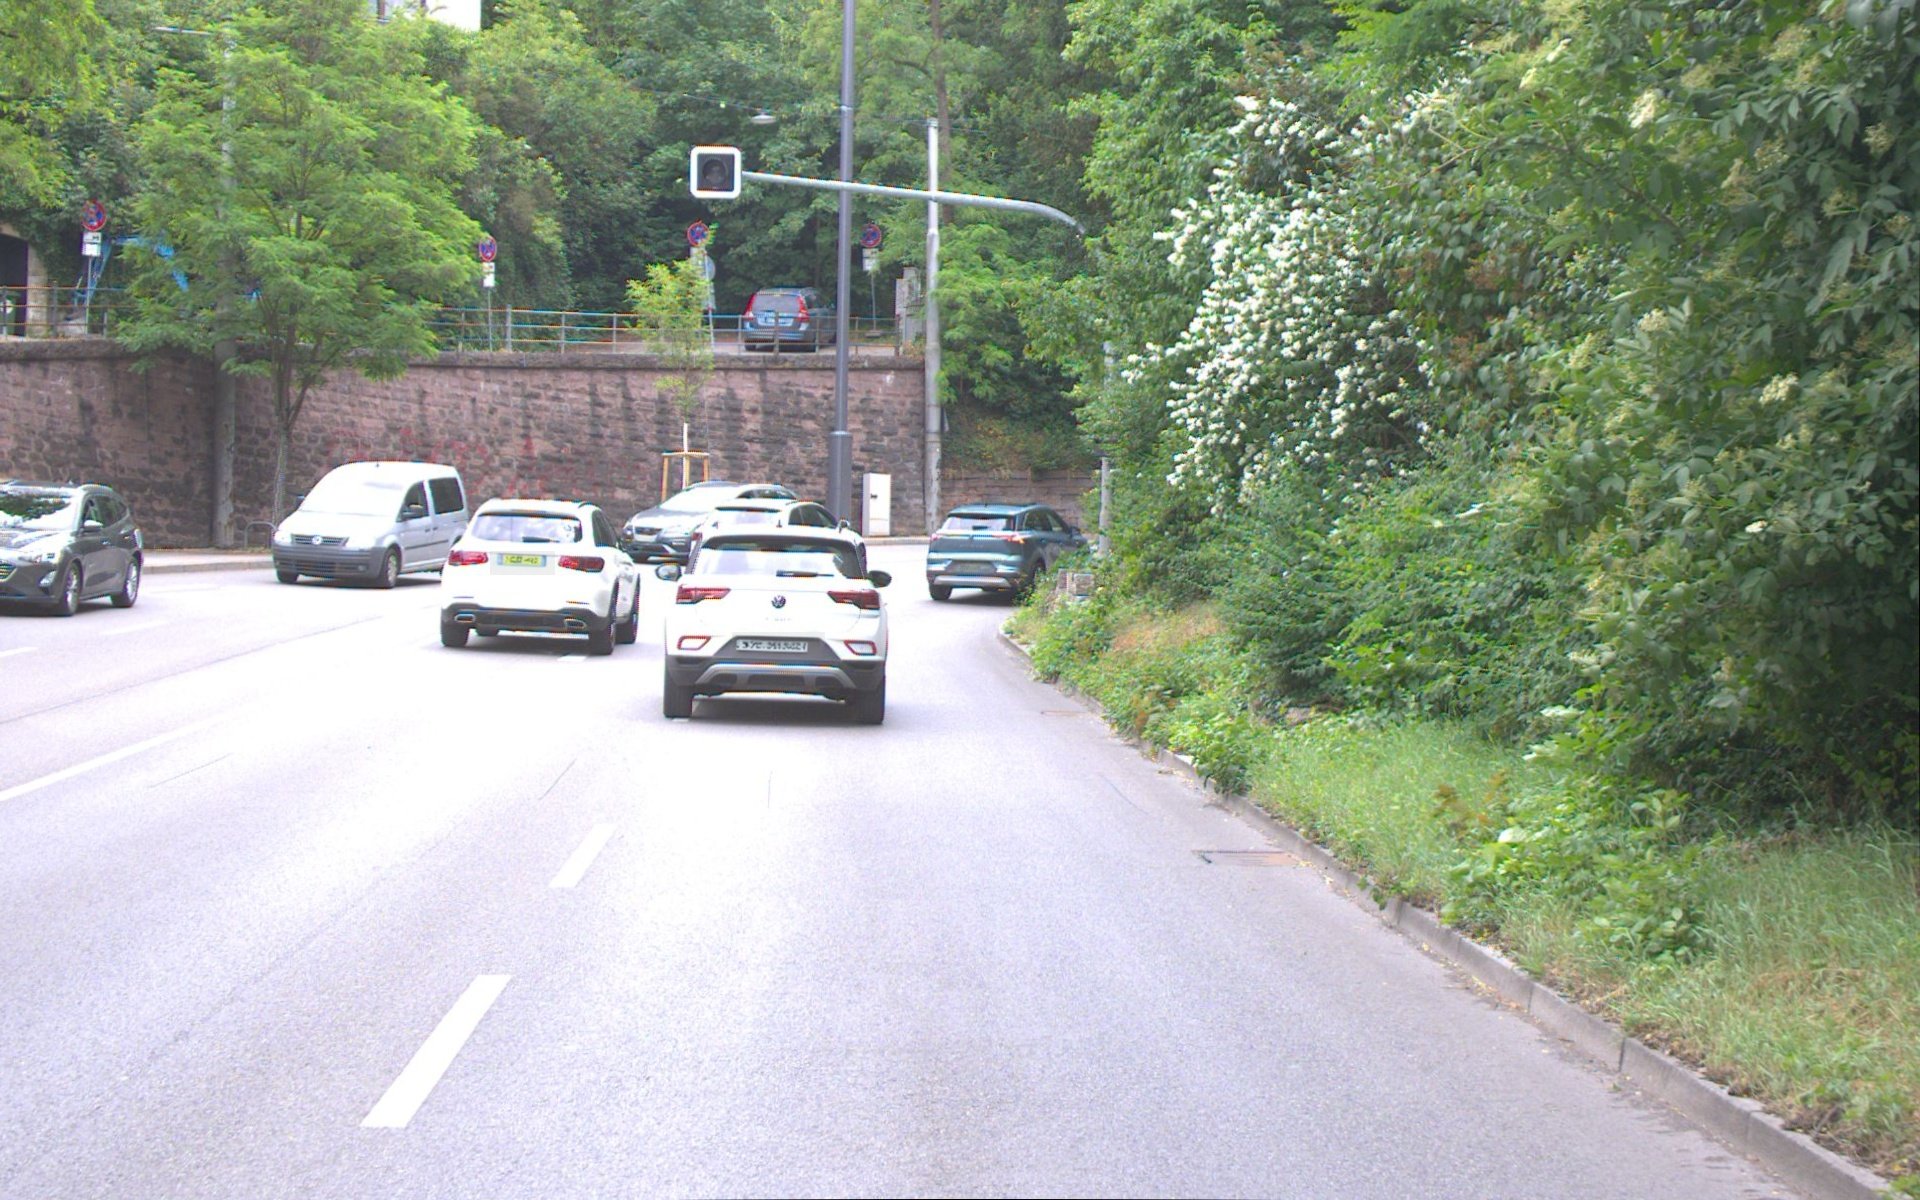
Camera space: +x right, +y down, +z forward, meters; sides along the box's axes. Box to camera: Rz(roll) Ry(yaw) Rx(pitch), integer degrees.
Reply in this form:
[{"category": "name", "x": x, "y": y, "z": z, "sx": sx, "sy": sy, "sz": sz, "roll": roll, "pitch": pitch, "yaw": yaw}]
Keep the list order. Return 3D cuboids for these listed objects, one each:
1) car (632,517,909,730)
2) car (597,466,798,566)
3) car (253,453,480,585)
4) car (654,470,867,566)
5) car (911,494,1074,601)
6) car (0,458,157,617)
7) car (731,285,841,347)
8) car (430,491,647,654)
[{"category": "car", "x": -1.634, "y": 0.142, "z": 28.341, "sx": 1.864, "sy": 1.550, "sz": 3.896, "roll": 2, "pitch": 1, "yaw": -8}, {"category": "car", "x": -4.818, "y": -1.553, "z": 63.781, "sx": 1.948, "sy": 1.688, "sz": 4.281, "roll": 4, "pitch": 3, "yaw": 22}, {"category": "car", "x": -8.914, "y": -1.243, "z": 51.986, "sx": 1.946, "sy": 1.792, "sz": 4.284, "roll": 4, "pitch": 2, "yaw": 10}, {"category": "car", "x": -3.241, "y": -1.355, "z": 56.703, "sx": 2.249, "sy": 1.514, "sz": 4.305, "roll": 1, "pitch": 1, "yaw": 15}, {"category": "car", "x": 0.565, "y": -0.853, "z": 55.991, "sx": 1.862, "sy": 1.626, "sz": 3.957, "roll": -2, "pitch": 1, "yaw": 12}, {"category": "car", "x": -10.917, "y": -0.778, "z": 39.944, "sx": 1.993, "sy": 1.612, "sz": 4.329, "roll": 4, "pitch": 2, "yaw": 1}, {"category": "car", "x": -4.289, "y": -7.038, "z": 85.171, "sx": 1.994, "sy": 1.480, "sz": 4.000, "roll": 1, "pitch": 5, "yaw": 8}, {"category": "car", "x": -4.658, "y": -0.323, "z": 38.572, "sx": 1.877, "sy": 1.646, "sz": 4.342, "roll": 3, "pitch": 1, "yaw": -1}]
